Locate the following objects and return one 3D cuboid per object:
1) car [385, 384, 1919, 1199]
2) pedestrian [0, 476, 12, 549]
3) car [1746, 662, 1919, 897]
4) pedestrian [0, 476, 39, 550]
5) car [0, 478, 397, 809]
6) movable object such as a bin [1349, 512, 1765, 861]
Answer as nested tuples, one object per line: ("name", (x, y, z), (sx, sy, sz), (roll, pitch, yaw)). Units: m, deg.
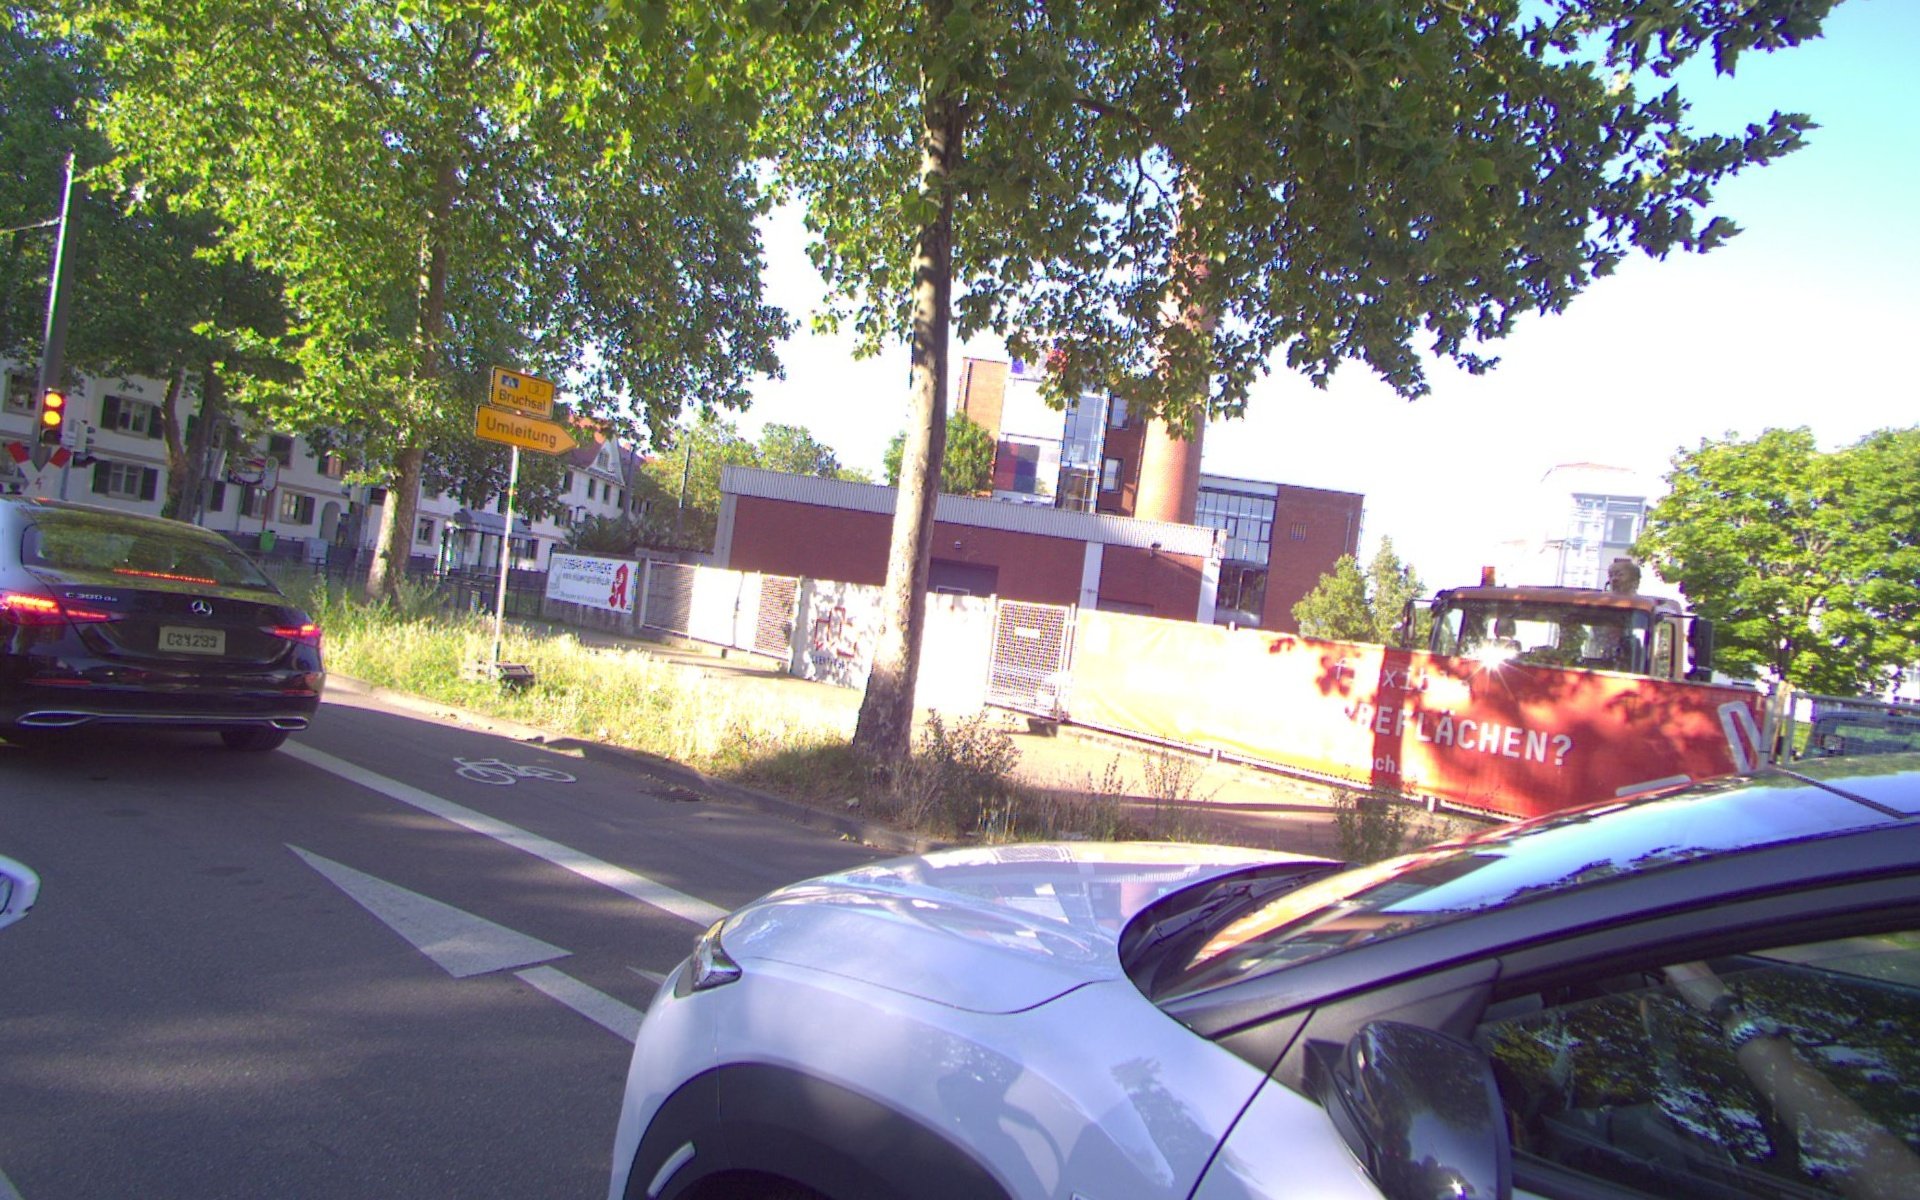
("car", (1.255, 0.805, 1.352), (3.901, 1.616, 1.893), (9, -1, 33))
("pedestrian", (-26.114, -2.396, 26.912), (0.825, 1.940, 0.707), (7, -1, 28))
("car", (9.579, 1.822, 10.151), (2.016, 1.849, 4.583), (6, -3, 44))
("pedestrian", (-26.517, -2.432, 28.132), (0.825, 1.940, 0.707), (7, -1, 28))
("car", (-5.951, 0.054, 6.637), (4.307, 1.508, 1.894), (9, -1, 31))
("movable object such as a bin", (7.650, 1.032, 12.409), (3.172, 3.084, 6.266), (6, -2, 41))
